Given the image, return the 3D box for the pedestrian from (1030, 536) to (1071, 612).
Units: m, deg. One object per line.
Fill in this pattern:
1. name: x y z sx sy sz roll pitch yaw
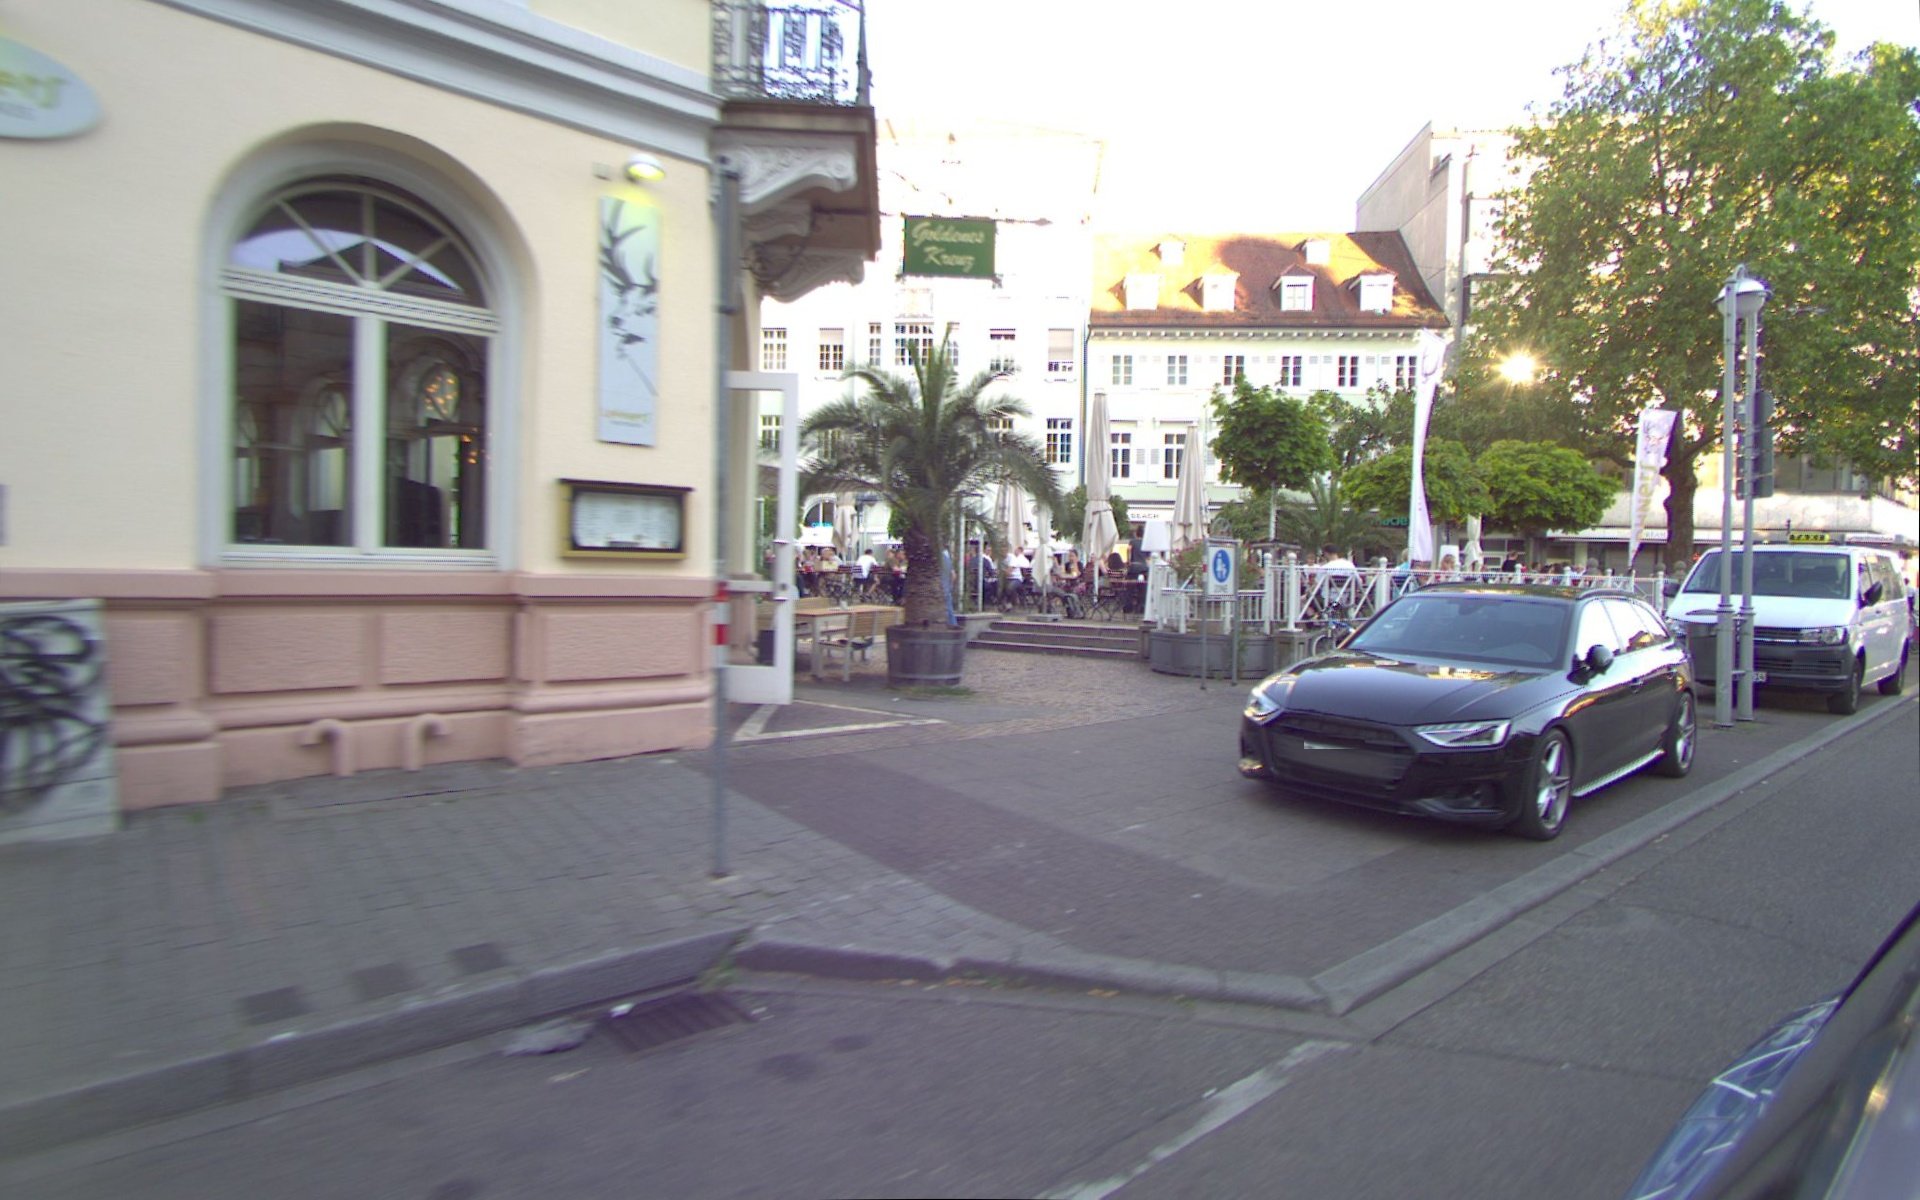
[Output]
1. pedestrian: 1.646 -0.475 18.444 0.523 1.349 0.490 0 2 -40

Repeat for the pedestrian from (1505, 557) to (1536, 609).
1. pedestrian: 14.346 -0.448 25.883 0.482 1.313 0.531 0 2 -40

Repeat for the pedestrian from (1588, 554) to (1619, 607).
1. pedestrian: 16.660 -0.505 26.213 0.482 1.349 0.531 0 2 -40

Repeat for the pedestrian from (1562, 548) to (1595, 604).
1. pedestrian: 14.932 -0.583 24.420 0.482 1.349 0.531 0 2 -40

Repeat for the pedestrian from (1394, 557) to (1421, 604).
1. pedestrian: 12.565 -0.555 28.408 0.482 1.313 0.531 0 2 -40

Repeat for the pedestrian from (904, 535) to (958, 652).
1. pedestrian: -0.439 -0.104 15.245 0.588 1.718 0.524 2 2 43

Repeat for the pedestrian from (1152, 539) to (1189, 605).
1. pedestrian: 4.537 -0.600 21.810 0.588 1.394 0.524 2 2 43

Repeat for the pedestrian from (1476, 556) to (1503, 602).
1. pedestrian: 15.510 -0.624 29.659 0.482 1.313 0.531 0 2 -40

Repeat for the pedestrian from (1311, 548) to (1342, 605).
1. pedestrian: 8.798 -0.573 24.283 0.523 1.349 0.490 0 2 -40

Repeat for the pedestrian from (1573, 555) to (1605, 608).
1. pedestrian: 15.740 -0.459 25.341 0.482 1.313 0.531 0 2 -40

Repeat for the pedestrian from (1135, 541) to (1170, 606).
1. pedestrian: 4.068 -0.566 21.410 0.523 1.349 0.490 0 2 -40

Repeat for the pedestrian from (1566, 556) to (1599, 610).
1. pedestrian: 15.291 -0.425 24.868 0.482 1.313 0.531 0 2 -40

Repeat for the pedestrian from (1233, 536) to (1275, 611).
1. pedestrian: 5.380 -0.481 18.508 0.482 1.349 0.531 0 2 -40

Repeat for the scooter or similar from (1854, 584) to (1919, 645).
1. scooter or similar: 20.737 0.321 22.388 0.526 1.247 1.344 -1 4 -42

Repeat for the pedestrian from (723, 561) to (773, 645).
1. pedestrian: -3.285 0.039 15.675 0.592 1.266 0.484 2 1 37

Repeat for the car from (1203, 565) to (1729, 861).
1. car: 3.758 0.496 7.106 4.469 1.407 1.700 -1 4 -41

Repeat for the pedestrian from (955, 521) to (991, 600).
1. pedestrian: 0.281 -0.873 22.531 0.530 1.718 0.581 2 2 42

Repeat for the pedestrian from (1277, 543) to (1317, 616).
1. pedestrian: 6.422 -0.392 19.276 0.482 1.349 0.531 0 2 -40

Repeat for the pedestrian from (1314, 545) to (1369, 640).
1. pedestrian: 5.401 -0.116 14.339 0.482 1.312 0.531 0 2 -40

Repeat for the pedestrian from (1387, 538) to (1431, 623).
1. pedestrian: 7.039 -0.313 15.878 0.529 1.312 0.485 2 1 34

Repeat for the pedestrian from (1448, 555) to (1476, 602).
1. pedestrian: 14.191 -0.616 28.621 0.482 1.313 0.531 0 2 -40

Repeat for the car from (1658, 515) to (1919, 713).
1. car: 10.901 0.070 13.044 5.124 2.092 1.856 -1 3 -41

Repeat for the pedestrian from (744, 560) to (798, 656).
1. pedestrian: -2.701 0.101 14.472 0.592 1.344 0.484 2 1 37

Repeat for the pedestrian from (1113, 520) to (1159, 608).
1. pedestrian: 3.526 -0.724 20.252 0.588 1.713 0.721 2 2 42

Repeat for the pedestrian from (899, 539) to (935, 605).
1. pedestrian: -0.891 -0.576 20.935 0.523 1.349 0.490 0 2 -40

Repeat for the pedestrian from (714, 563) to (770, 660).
1. pedestrian: -3.015 0.148 13.996 0.592 1.296 0.484 2 1 37

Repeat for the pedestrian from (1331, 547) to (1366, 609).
1. pedestrian: 8.648 -0.487 22.529 0.482 1.349 0.531 0 2 -40

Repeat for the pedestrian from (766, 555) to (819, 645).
1. pedestrian: -2.563 -0.016 15.516 0.488 1.344 0.629 2 1 36

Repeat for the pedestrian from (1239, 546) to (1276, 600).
1. pedestrian: 7.576 -0.688 25.809 0.653 1.349 0.628 0 2 -40

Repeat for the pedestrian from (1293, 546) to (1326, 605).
1. pedestrian: 8.052 -0.563 23.327 0.523 1.349 0.490 0 2 -40

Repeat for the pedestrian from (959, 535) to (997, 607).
1. pedestrian: 0.343 -0.546 19.277 0.523 1.349 0.490 0 2 -40

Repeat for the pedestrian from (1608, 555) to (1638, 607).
1. pedestrian: 17.697 -0.507 27.003 0.482 1.349 0.531 0 2 -40

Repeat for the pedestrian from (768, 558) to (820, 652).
1. pedestrian: -2.463 0.063 15.000 0.592 1.344 0.484 2 1 37

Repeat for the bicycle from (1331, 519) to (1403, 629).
1. bicycle: 5.441 -0.344 13.497 1.268 1.408 0.344 0 1 -41

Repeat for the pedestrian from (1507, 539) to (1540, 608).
1. pedestrian: 13.272 -0.624 23.830 0.523 1.578 0.490 0 2 -40

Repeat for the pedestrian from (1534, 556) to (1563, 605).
1. pedestrian: 16.216 -0.536 27.872 0.482 1.313 0.531 0 2 -40

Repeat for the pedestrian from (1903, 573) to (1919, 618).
1. pedestrian: 35.287 -0.185 37.336 0.635 1.645 0.512 2 2 39

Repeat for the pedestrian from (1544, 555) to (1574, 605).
1. pedestrian: 16.084 -0.539 27.175 0.482 1.313 0.531 0 2 -40
